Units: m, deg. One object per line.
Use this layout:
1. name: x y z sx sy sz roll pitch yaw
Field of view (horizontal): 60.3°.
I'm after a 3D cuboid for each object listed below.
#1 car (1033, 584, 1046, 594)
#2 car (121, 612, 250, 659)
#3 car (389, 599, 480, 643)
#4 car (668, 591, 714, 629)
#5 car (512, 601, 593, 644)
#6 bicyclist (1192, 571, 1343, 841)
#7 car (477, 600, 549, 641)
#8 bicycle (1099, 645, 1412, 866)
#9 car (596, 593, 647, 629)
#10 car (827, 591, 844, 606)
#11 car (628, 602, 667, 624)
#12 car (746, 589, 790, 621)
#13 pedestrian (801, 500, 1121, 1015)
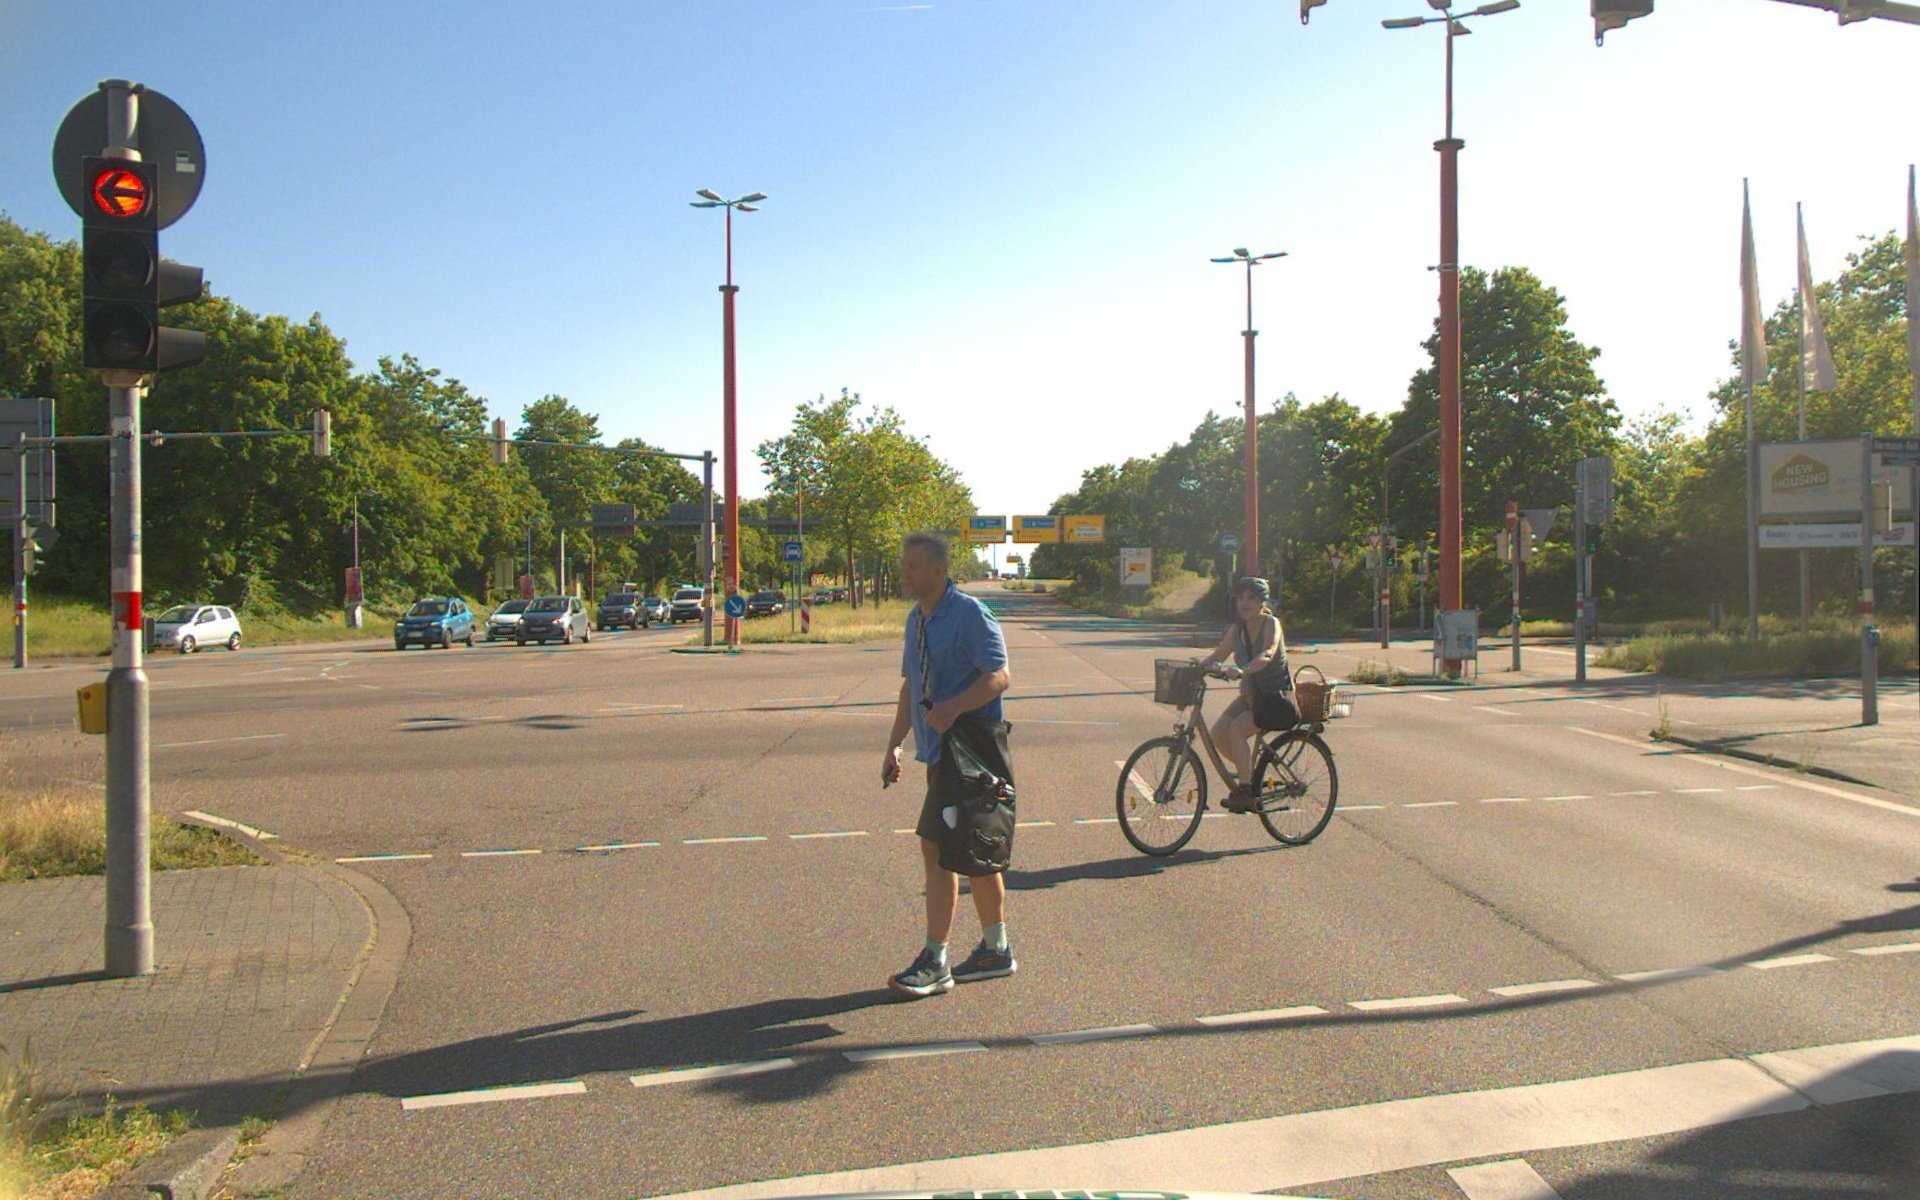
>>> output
1. car: 12.521 -1.729 261.059 1.758 1.434 3.999 1 0 -1
2. car: -25.010 1.125 53.585 1.713 1.422 4.003 0 0 12
3. car: -16.049 0.615 50.671 1.704 1.265 3.611 0 0 -2
4. car: -15.285 0.541 94.190 1.855 2.061 5.221 0 0 -2
5. car: -12.700 0.674 51.724 1.704 1.265 3.611 0 0 -2
6. bicyclist: 1.913 0.630 10.330 0.653 1.612 0.666 0 0 -28
7. car: -16.149 0.713 59.896 1.704 1.436 3.611 0 0 -2
8. bicycle: 1.853 0.916 10.289 1.920 1.216 0.686 0 0 -29
9. car: -15.679 0.495 76.752 1.704 1.640 3.611 0 0 -2
10. car: -14.180 -0.197 188.446 1.782 1.657 3.999 0 0 -1
11. car: -18.598 0.736 98.539 1.704 1.265 3.611 0 0 -2
12. car: -9.518 0.233 82.330 1.782 1.534 3.999 0 0 -1
13. pedestrian: -0.019 0.557 6.501 0.971 1.825 0.948 0 0 -23
